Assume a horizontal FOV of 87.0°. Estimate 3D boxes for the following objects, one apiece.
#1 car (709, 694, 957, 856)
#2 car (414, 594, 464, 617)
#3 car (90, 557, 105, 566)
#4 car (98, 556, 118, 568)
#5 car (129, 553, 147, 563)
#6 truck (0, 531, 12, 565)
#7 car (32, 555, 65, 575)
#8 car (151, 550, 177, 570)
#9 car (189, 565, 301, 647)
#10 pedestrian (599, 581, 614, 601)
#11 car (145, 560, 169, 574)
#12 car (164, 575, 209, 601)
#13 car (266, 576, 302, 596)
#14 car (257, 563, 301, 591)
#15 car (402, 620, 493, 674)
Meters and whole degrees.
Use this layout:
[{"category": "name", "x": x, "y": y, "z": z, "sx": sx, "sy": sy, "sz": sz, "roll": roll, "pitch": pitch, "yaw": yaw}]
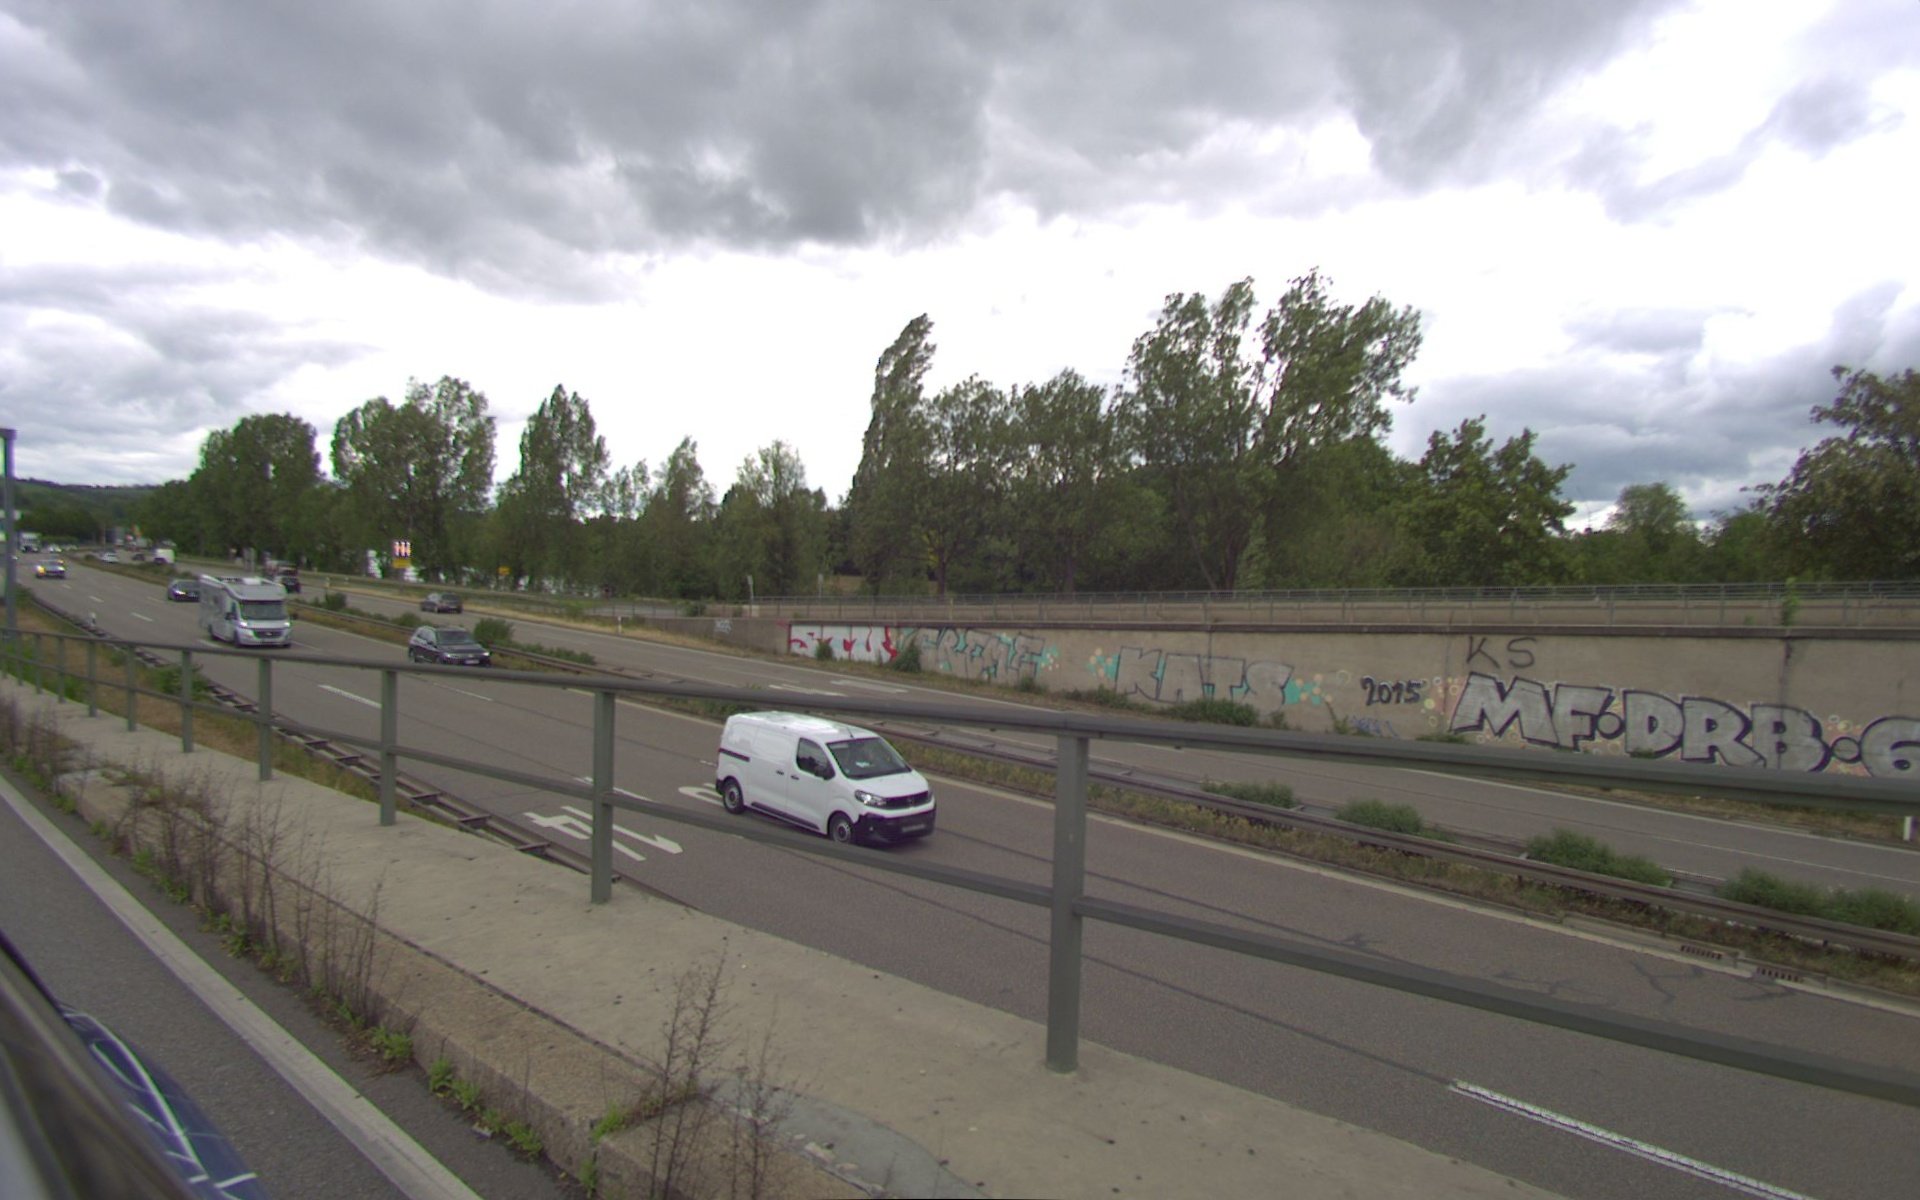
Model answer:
[{"category": "car", "x": -2.528, "y": 3.122, "z": 19.139, "sx": 4.898, "sy": 1.949, "sz": 1.928, "roll": 5, "pitch": 3, "yaw": 43}, {"category": "car", "x": -37.313, "y": 0.360, "z": 72.455, "sx": 4.109, "sy": 1.386, "sz": 1.693, "roll": 4, "pitch": 1, "yaw": 41}, {"category": "car", "x": -171.504, "y": -7.693, "z": 201.213, "sx": 3.931, "sy": 1.662, "sz": 1.878, "roll": 3, "pitch": 2, "yaw": 42}, {"category": "car", "x": -129.778, "y": -5.735, "z": 154.102, "sx": 3.931, "sy": 1.662, "sz": 1.739, "roll": 5, "pitch": 3, "yaw": 41}, {"category": "car", "x": -152.784, "y": -7.764, "z": 188.075, "sx": 3.931, "sy": 1.662, "sz": 1.878, "roll": 4, "pitch": 3, "yaw": 42}, {"category": "truck", "x": -122.445, "y": -6.677, "z": 128.236, "sx": 6.696, "sy": 4.283, "sz": 2.723, "roll": 4, "pitch": 2, "yaw": 41}, {"category": "car", "x": -83.745, "y": -3.211, "z": 92.984, "sx": 4.278, "sy": 1.813, "sz": 1.821, "roll": 2, "pitch": 2, "yaw": 42}, {"category": "car", "x": -124.568, "y": -6.233, "z": 158.281, "sx": 5.360, "sy": 2.800, "sz": 2.187, "roll": 5, "pitch": 2, "yaw": 42}, {"category": "car", "x": -32.711, "y": 0.211, "z": 46.196, "sx": 7.658, "sy": 3.264, "sz": 2.336, "roll": 4, "pitch": 0, "yaw": 42}, {"category": "pedestrian", "x": -30.990, "y": -0.803, "z": 88.643, "sx": 1.078, "sy": 1.717, "sz": 0.821, "roll": 4, "pitch": 3, "yaw": 42}, {"category": "car", "x": -110.763, "y": -4.605, "z": 139.615, "sx": 4.333, "sy": 1.662, "sz": 1.878, "roll": 4, "pitch": 2, "yaw": 42}, {"category": "car", "x": -54.395, "y": -0.862, "z": 71.135, "sx": 4.219, "sy": 1.581, "sz": 1.731, "roll": 4, "pitch": 3, "yaw": 42}, {"category": "car", "x": -59.138, "y": -1.229, "z": 88.563, "sx": 3.858, "sy": 1.512, "sz": 1.646, "roll": 4, "pitch": 2, "yaw": 41}, {"category": "car", "x": -69.712, "y": -2.366, "z": 103.563, "sx": 6.112, "sy": 2.565, "sz": 2.221, "roll": 4, "pitch": 2, "yaw": 41}, {"category": "car", "x": -20.229, "y": 1.780, "z": 39.842, "sx": 4.281, "sy": 1.726, "sz": 1.820, "roll": 4, "pitch": 2, "yaw": 43}]
